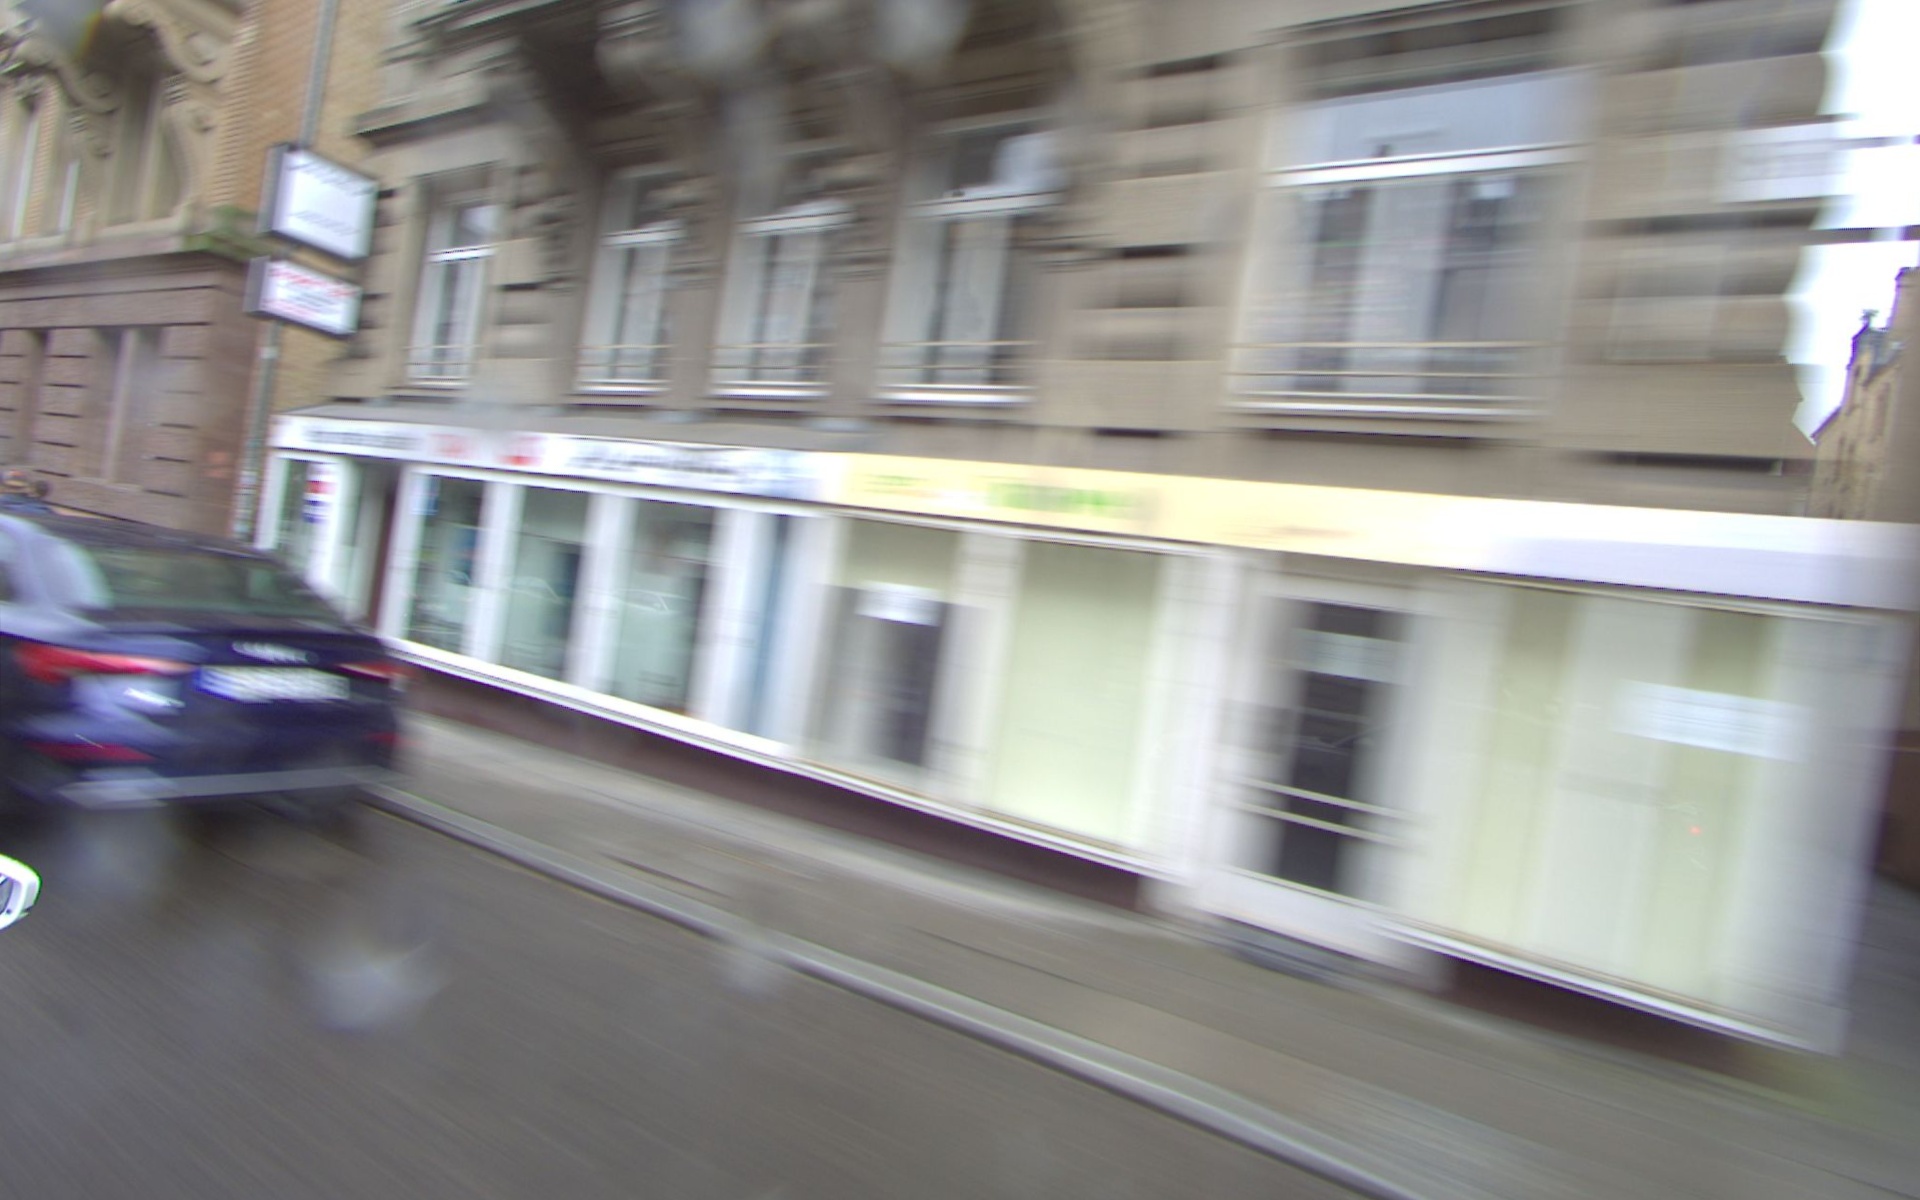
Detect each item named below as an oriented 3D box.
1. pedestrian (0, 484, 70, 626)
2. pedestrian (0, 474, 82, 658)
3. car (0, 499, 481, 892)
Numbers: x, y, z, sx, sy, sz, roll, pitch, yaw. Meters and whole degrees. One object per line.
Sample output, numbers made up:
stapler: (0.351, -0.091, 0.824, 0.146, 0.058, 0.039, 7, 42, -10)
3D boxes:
pedestrian: (-11.031, -0.528, 11.896, 0.666, 1.599, 0.520, 5, 1, 31)
pedestrian: (-9.893, -0.372, 10.520, 0.945, 1.843, 0.703, 8, 2, 31)
car: (-4.803, 0.279, 5.465, 4.185, 1.422, 1.796, 5, -3, 30)
